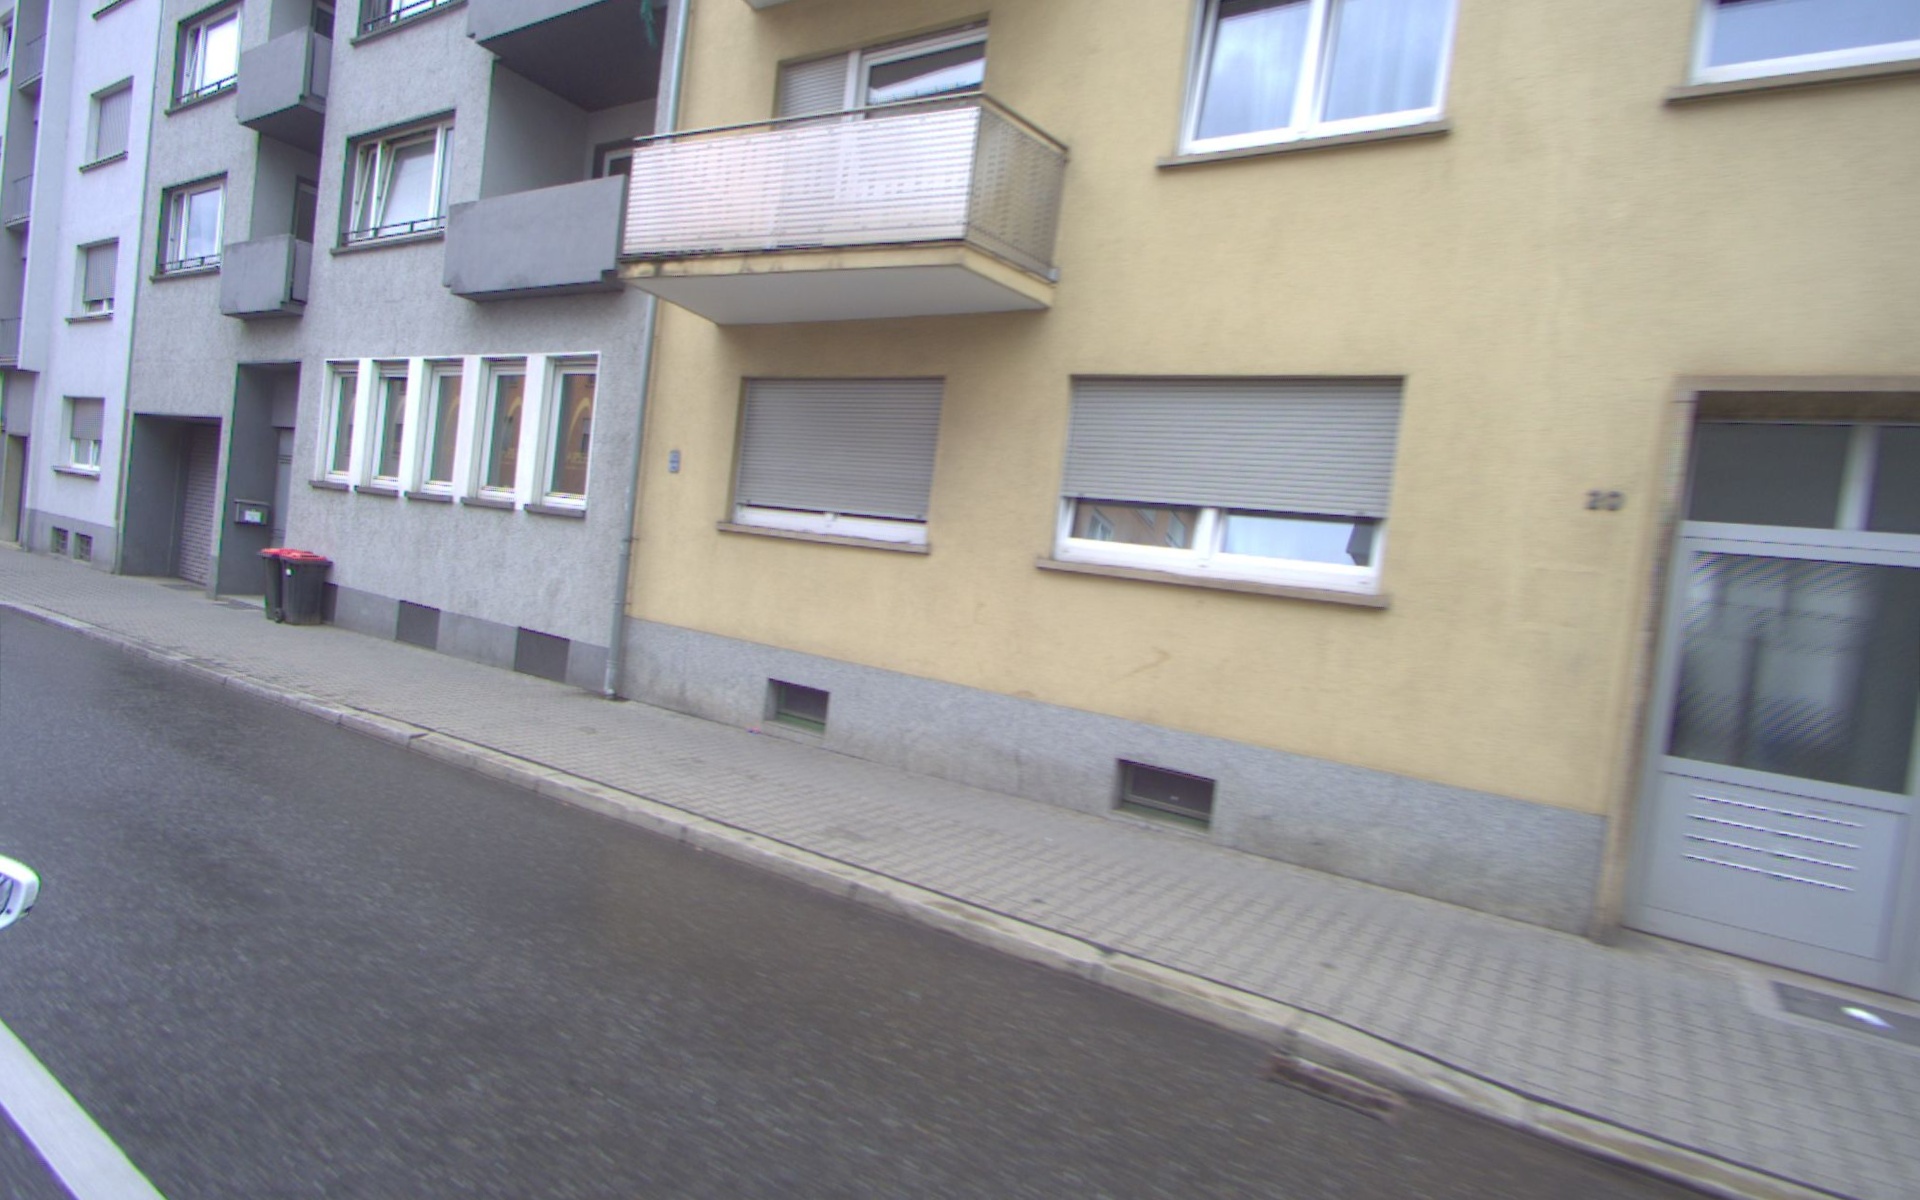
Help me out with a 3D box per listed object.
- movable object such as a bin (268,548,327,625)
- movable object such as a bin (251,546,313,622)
[{"bbox_3d":[-8.871,-0.184,13.468,0.555,0.976,0.472,8,5,35],"label":"movable object such as a bin"},{"bbox_3d":[-9.301,-0.219,13.806,0.467,0.976,0.561,8,5,36],"label":"movable object such as a bin"}]
